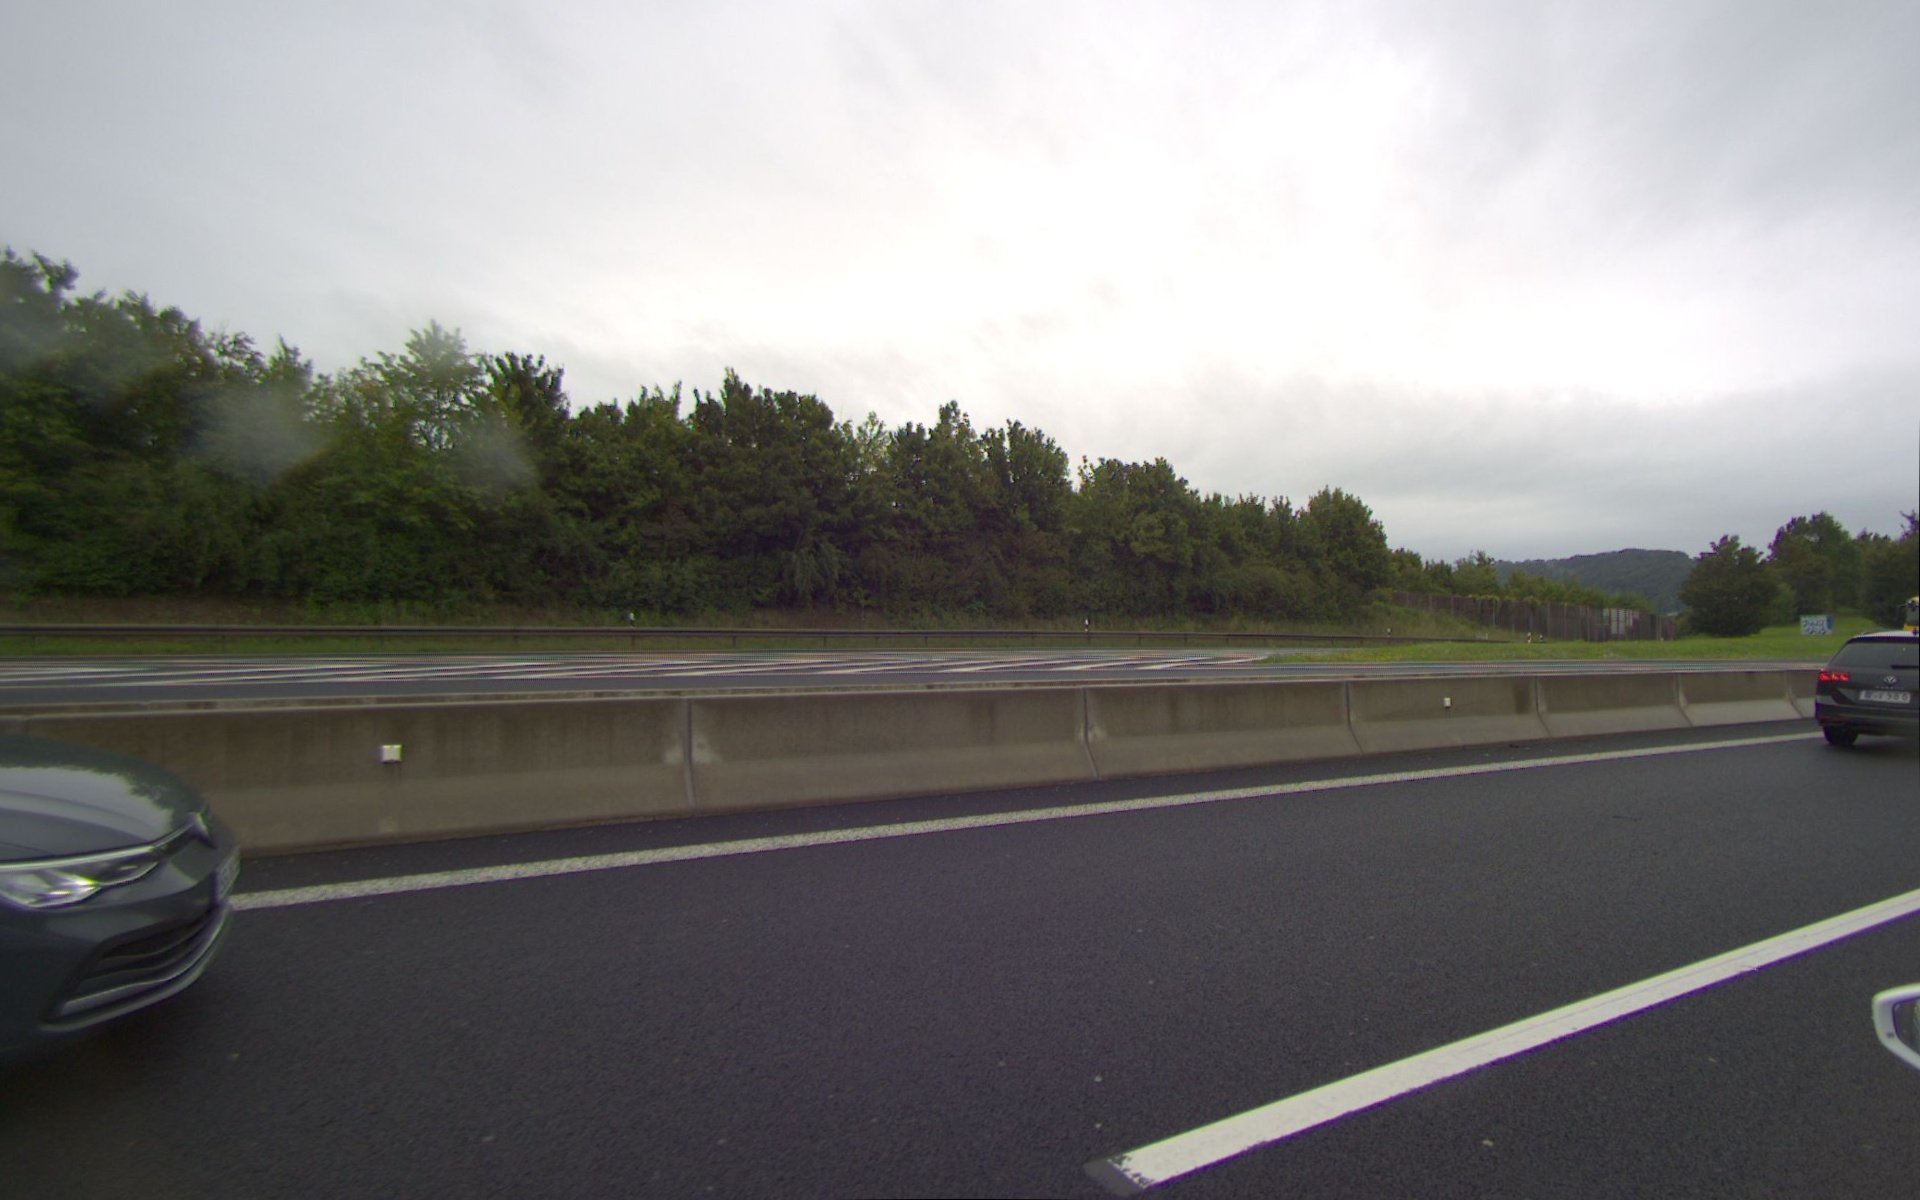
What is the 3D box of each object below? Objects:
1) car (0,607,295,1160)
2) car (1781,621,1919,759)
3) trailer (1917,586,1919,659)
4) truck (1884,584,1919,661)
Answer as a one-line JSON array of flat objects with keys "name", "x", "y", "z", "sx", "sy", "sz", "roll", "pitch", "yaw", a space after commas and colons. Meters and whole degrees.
[{"name": "car", "x": -4.423, "y": 0.716, "z": 2.559, "sx": 4.407, "sy": 1.424, "sz": 1.891, "roll": 1, "pitch": -1, "yaw": -30}, {"name": "car", "x": 12.603, "y": 1.072, "z": 12.702, "sx": 4.794, "sy": 1.517, "sz": 1.891, "roll": 2, "pitch": -1, "yaw": -30}, {"name": "trailer", "x": 50.909, "y": 1.241, "z": 48.939, "sx": 11.304, "sy": 3.443, "sz": 2.750, "roll": 2, "pitch": 0, "yaw": -28}, {"name": "truck", "x": 45.354, "y": 1.076, "z": 45.929, "sx": 5.773, "sy": 3.443, "sz": 2.750, "roll": 2, "pitch": 0, "yaw": -28}]
